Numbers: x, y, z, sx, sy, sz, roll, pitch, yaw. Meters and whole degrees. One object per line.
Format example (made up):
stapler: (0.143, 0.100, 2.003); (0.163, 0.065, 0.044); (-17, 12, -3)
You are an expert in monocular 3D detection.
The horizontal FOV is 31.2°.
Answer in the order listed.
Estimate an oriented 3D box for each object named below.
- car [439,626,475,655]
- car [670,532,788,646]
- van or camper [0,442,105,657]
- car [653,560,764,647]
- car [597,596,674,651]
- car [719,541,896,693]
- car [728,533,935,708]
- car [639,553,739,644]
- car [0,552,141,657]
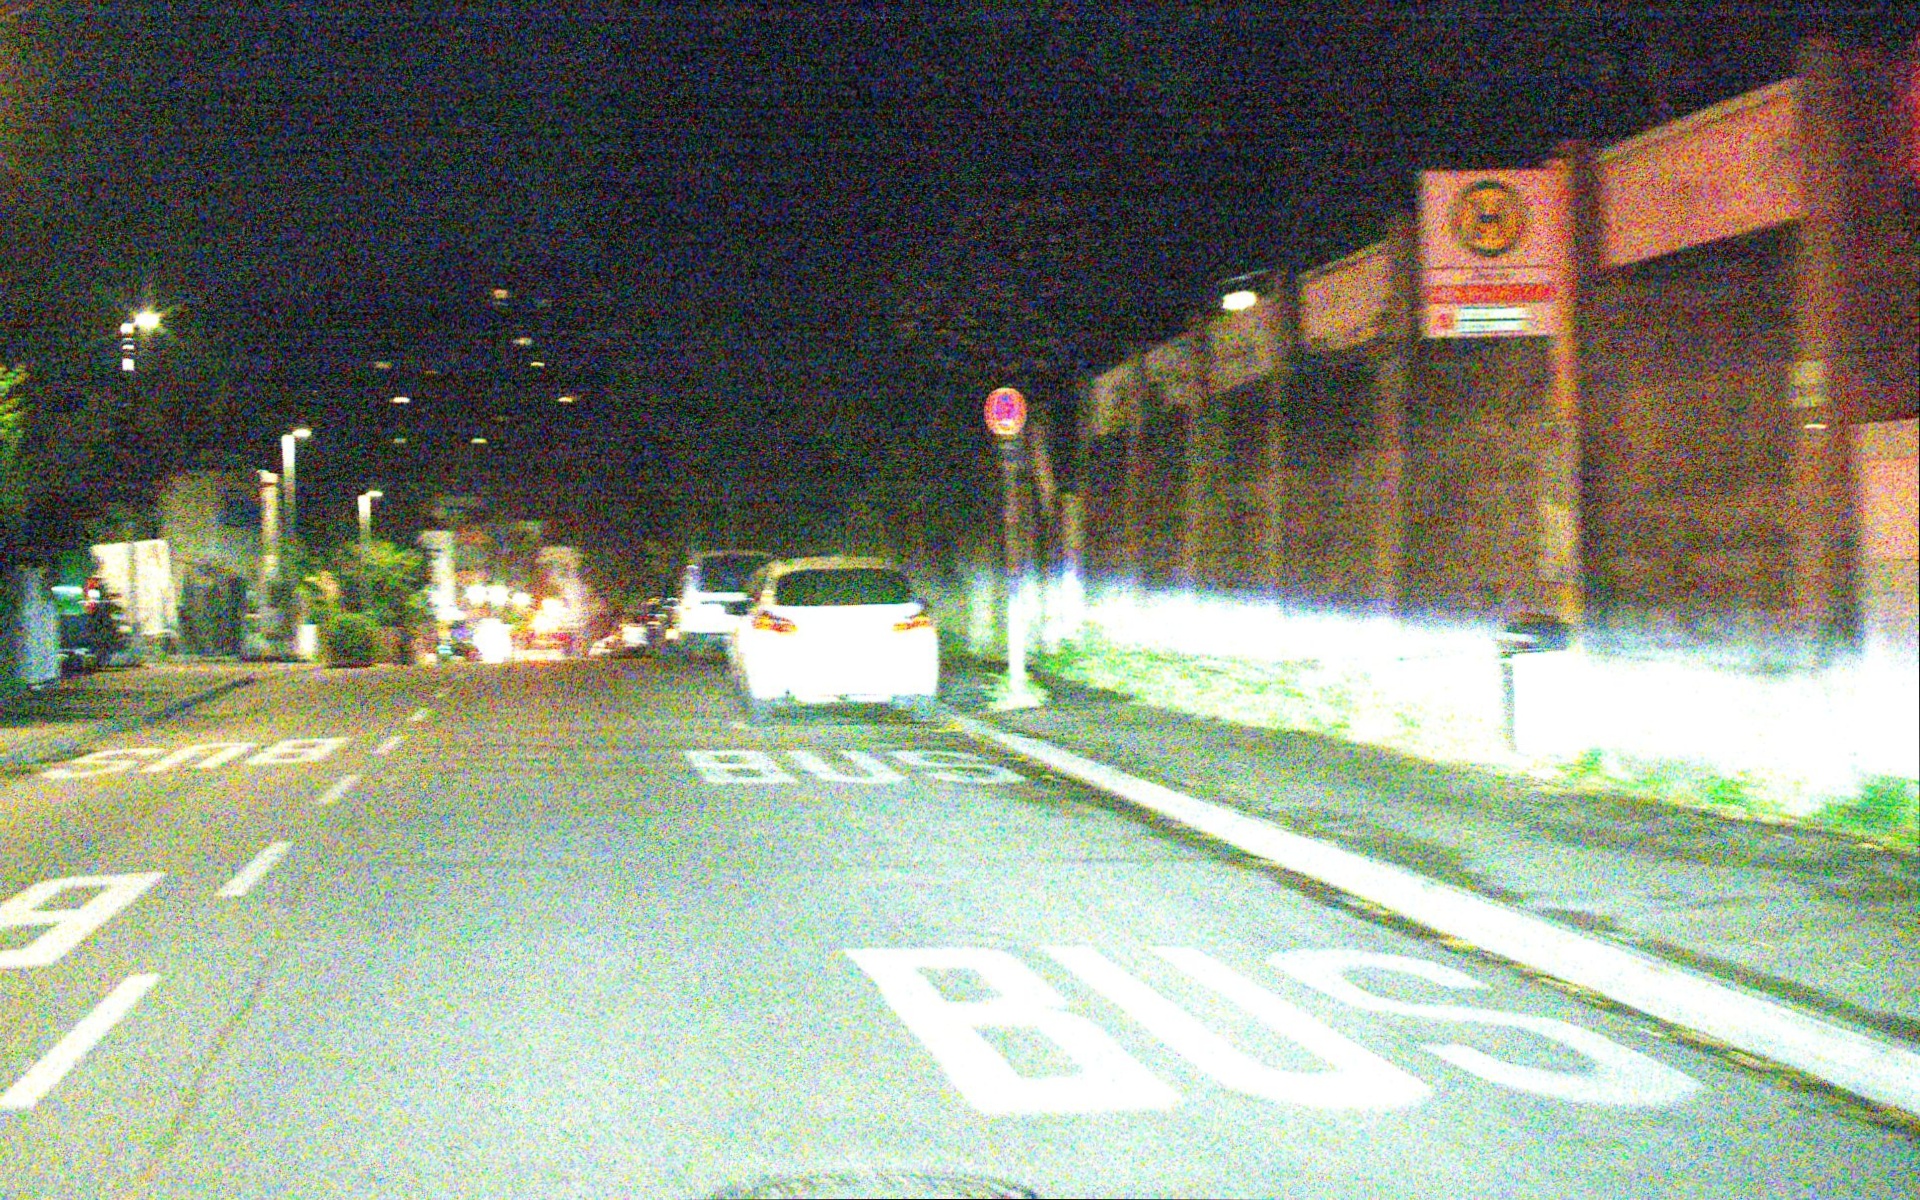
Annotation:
car: (-26.948, 2.174, 184.156); (1.752, 1.534, 3.731); (-1, -1, -10)
car: (-3.757, -0.181, 55.359); (1.718, 1.755, 4.759); (0, 0, -6)
van or camper: (-15.619, -0.727, 51.448); (5.397, 3.101, 2.133); (0, -3, -16)
car: (-4.478, 0.065, 60.806); (1.743, 1.466, 4.257); (1, 0, -7)
car: (-9.058, 0.682, 95.722); (1.762, 1.471, 4.277); (1, -1, -10)
car: (-1.739, 0.141, 38.200); (1.608, 1.456, 3.718); (-3, 2, -7)
car: (-1.325, 0.151, 33.709); (1.754, 1.588, 4.729); (0, 1, -5)
car: (-5.237, 0.006, 66.383); (1.832, 1.658, 4.619); (-1, -1, -5)
car: (-15.561, 0.105, 55.225); (4.416, 1.608, 2.065); (-1, -1, -5)
